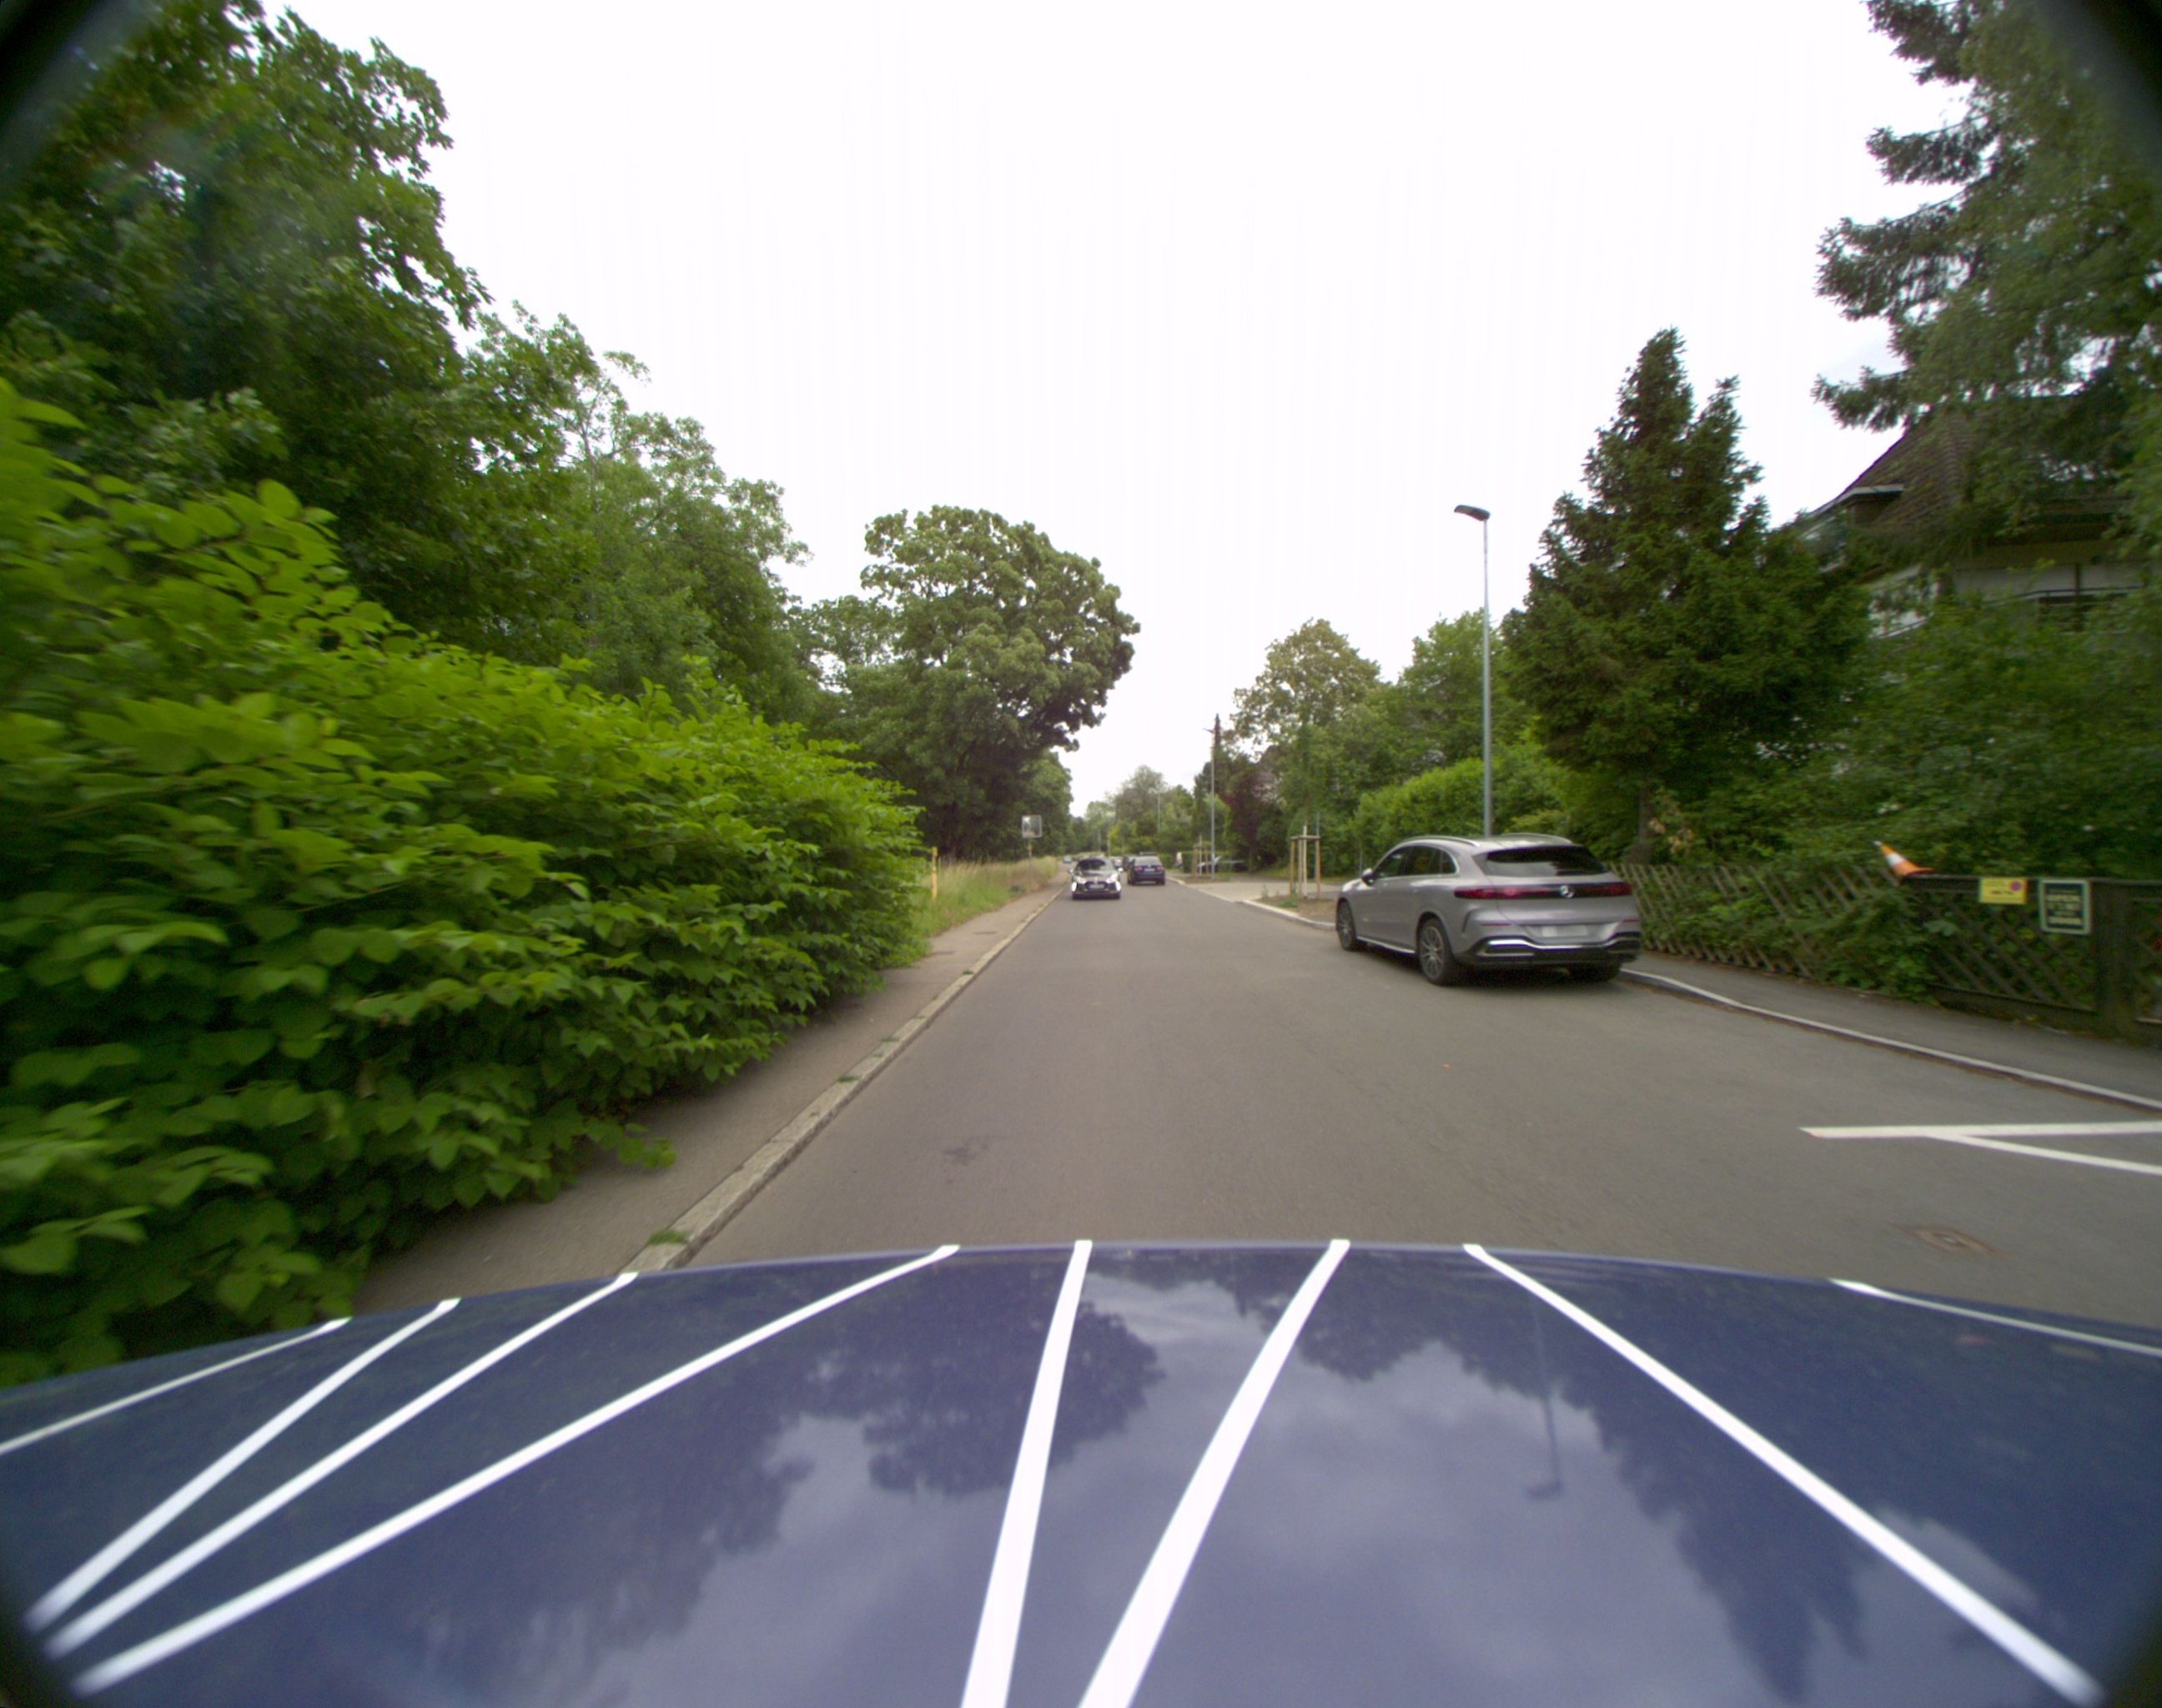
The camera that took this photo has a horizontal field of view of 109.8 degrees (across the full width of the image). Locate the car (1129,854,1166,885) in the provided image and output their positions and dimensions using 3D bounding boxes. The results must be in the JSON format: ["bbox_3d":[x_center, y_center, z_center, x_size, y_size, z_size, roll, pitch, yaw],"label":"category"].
[{"bbox_3d":[3.406,0.757,39.331,1.711,1.466,4.195,-1,0,3],"label":"car"}]

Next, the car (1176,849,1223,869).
[{"bbox_3d":[9.963,0.435,63.994,3.772,1.581,1.642,-1,0,8],"label":"car"}]

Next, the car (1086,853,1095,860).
[{"bbox_3d":[2.321,0.642,187.950,1.922,1.670,4.194,-1,0,0],"label":"car"}]

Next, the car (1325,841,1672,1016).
[{"bbox_3d":[4.670,0.695,9.481,1.800,1.598,4.730,-1,0,2],"label":"car"}]

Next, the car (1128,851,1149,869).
[{"bbox_3d":[5.856,0.580,77.347,1.922,1.670,4.195,-1,0,3],"label":"car"}]

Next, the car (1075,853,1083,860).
[{"bbox_3d":[-0.556,0.685,191.020,1.922,1.670,4.194,-1,0,0],"label":"car"}]

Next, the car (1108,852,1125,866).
[{"bbox_3d":[4.420,0.564,95.417,1.922,1.670,4.194,-1,0,0],"label":"car"}]

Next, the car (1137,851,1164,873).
[{"bbox_3d":[5.541,0.635,61.153,1.922,1.670,4.195,-1,0,3],"label":"car"}]

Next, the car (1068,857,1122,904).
[{"bbox_3d":[0.540,0.863,26.832,1.711,1.466,4.195,-1,0,2],"label":"car"}]

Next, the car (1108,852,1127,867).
[{"bbox_3d":[4.255,0.620,89.650,1.922,1.670,4.194,-1,0,0],"label":"car"}]

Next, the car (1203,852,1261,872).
[{"bbox_3d":[10.560,0.563,53.376,3.773,1.306,1.641,-1,0,3],"label":"car"}]

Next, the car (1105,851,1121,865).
[{"bbox_3d":[4.221,0.507,100.543,1.922,1.670,4.194,-1,0,0],"label":"car"}]

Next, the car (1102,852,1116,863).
[{"bbox_3d":[4.361,0.608,119.830,1.922,1.670,4.194,-1,0,0],"label":"car"}]

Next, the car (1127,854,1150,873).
[{"bbox_3d":[5.377,0.861,71.349,1.922,1.670,4.195,-1,0,3],"label":"car"}]

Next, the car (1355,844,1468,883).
[{"bbox_3d":[14.172,0.405,32.713,4.129,1.549,1.683,-1,0,2],"label":"car"}]

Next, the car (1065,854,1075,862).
[{"bbox_3d":[-2.184,0.800,150.478,1.923,1.670,4.194,-2,0,-2],"label":"car"}]
